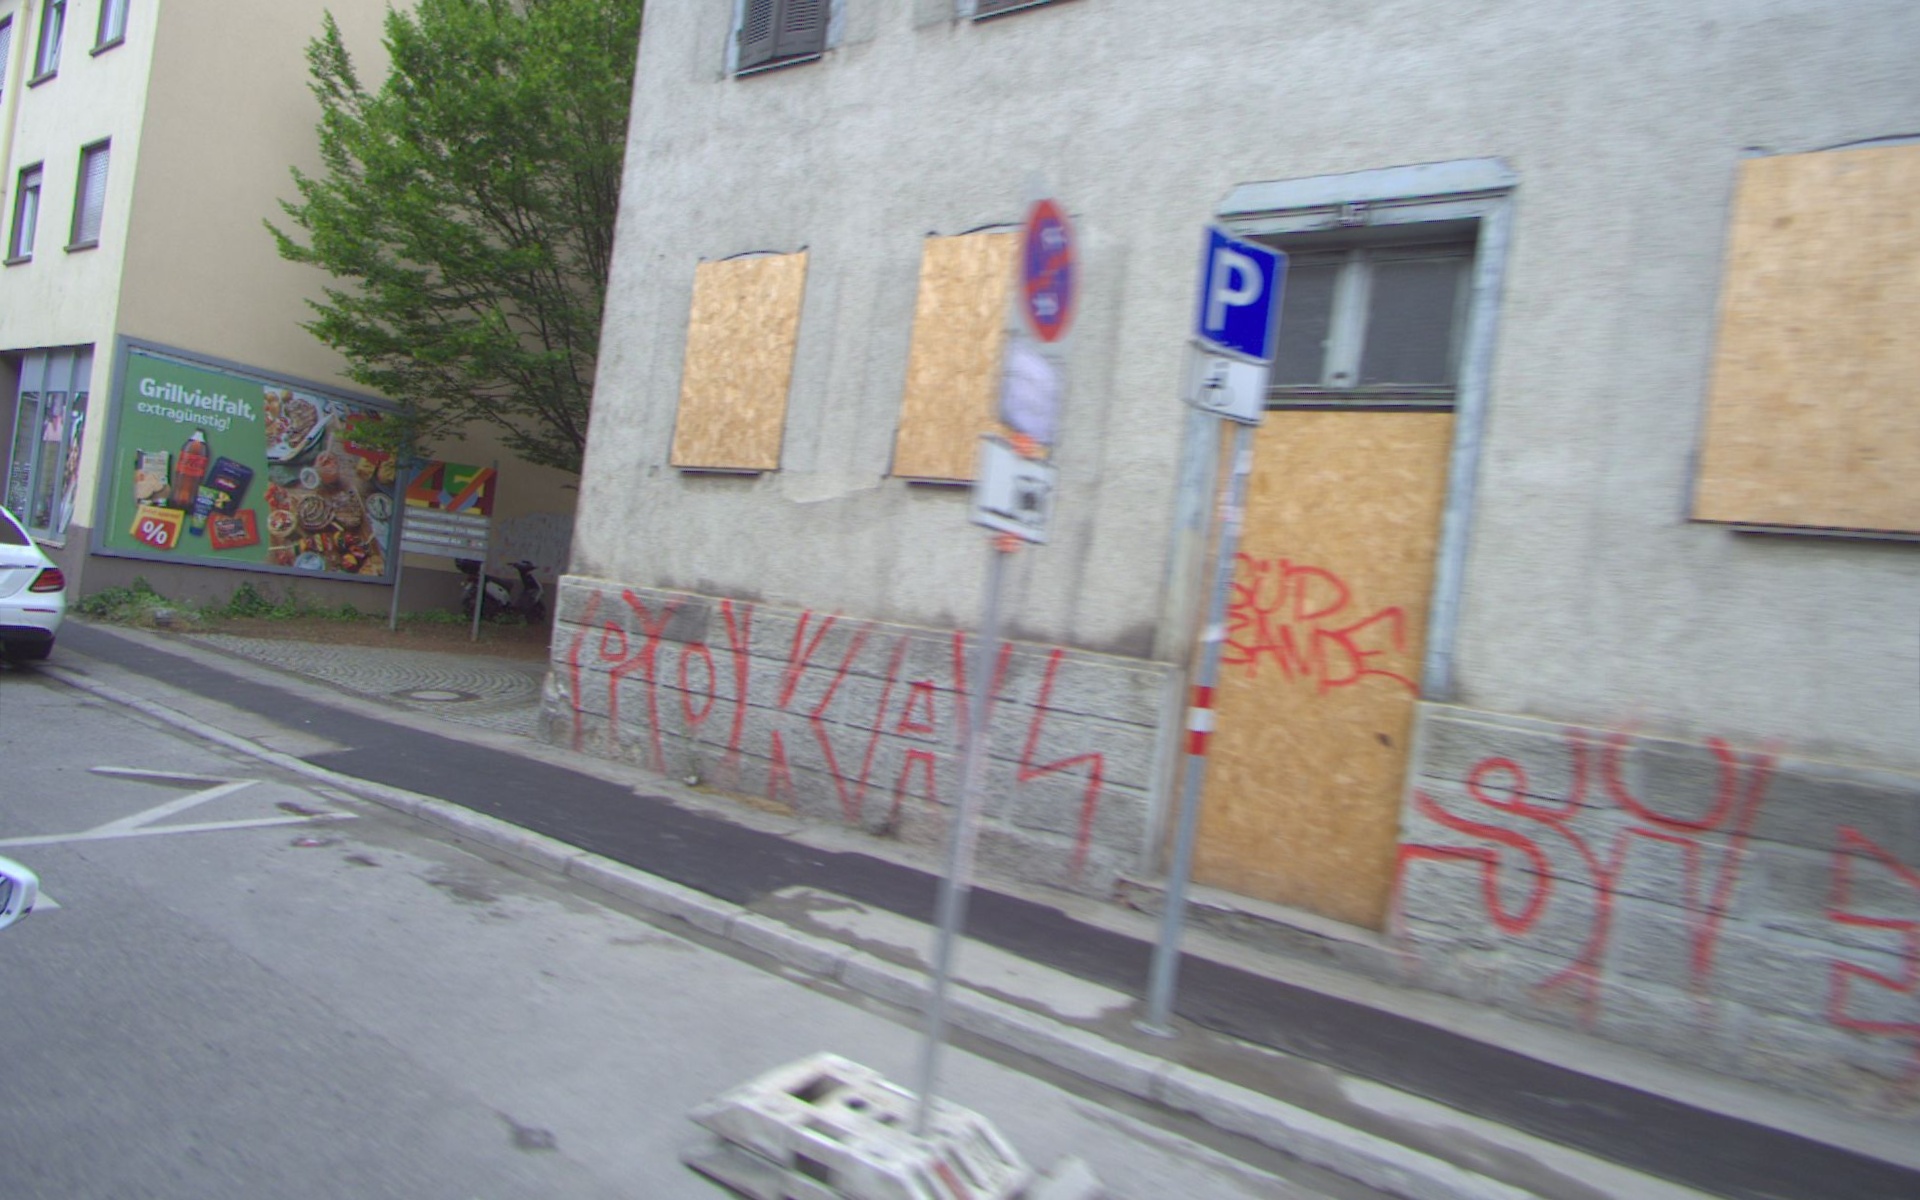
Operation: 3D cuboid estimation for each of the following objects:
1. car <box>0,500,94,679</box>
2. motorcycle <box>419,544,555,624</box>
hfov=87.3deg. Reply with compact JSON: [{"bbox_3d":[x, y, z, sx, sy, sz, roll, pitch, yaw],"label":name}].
[{"bbox_3d":[-10.173,-0.343,9.521,4.707,1.483,1.769,7,-1,35],"label":"car"},{"bbox_3d":[-7.855,-0.249,16.805,0.663,1.218,1.993,6,3,29],"label":"motorcycle"}]
